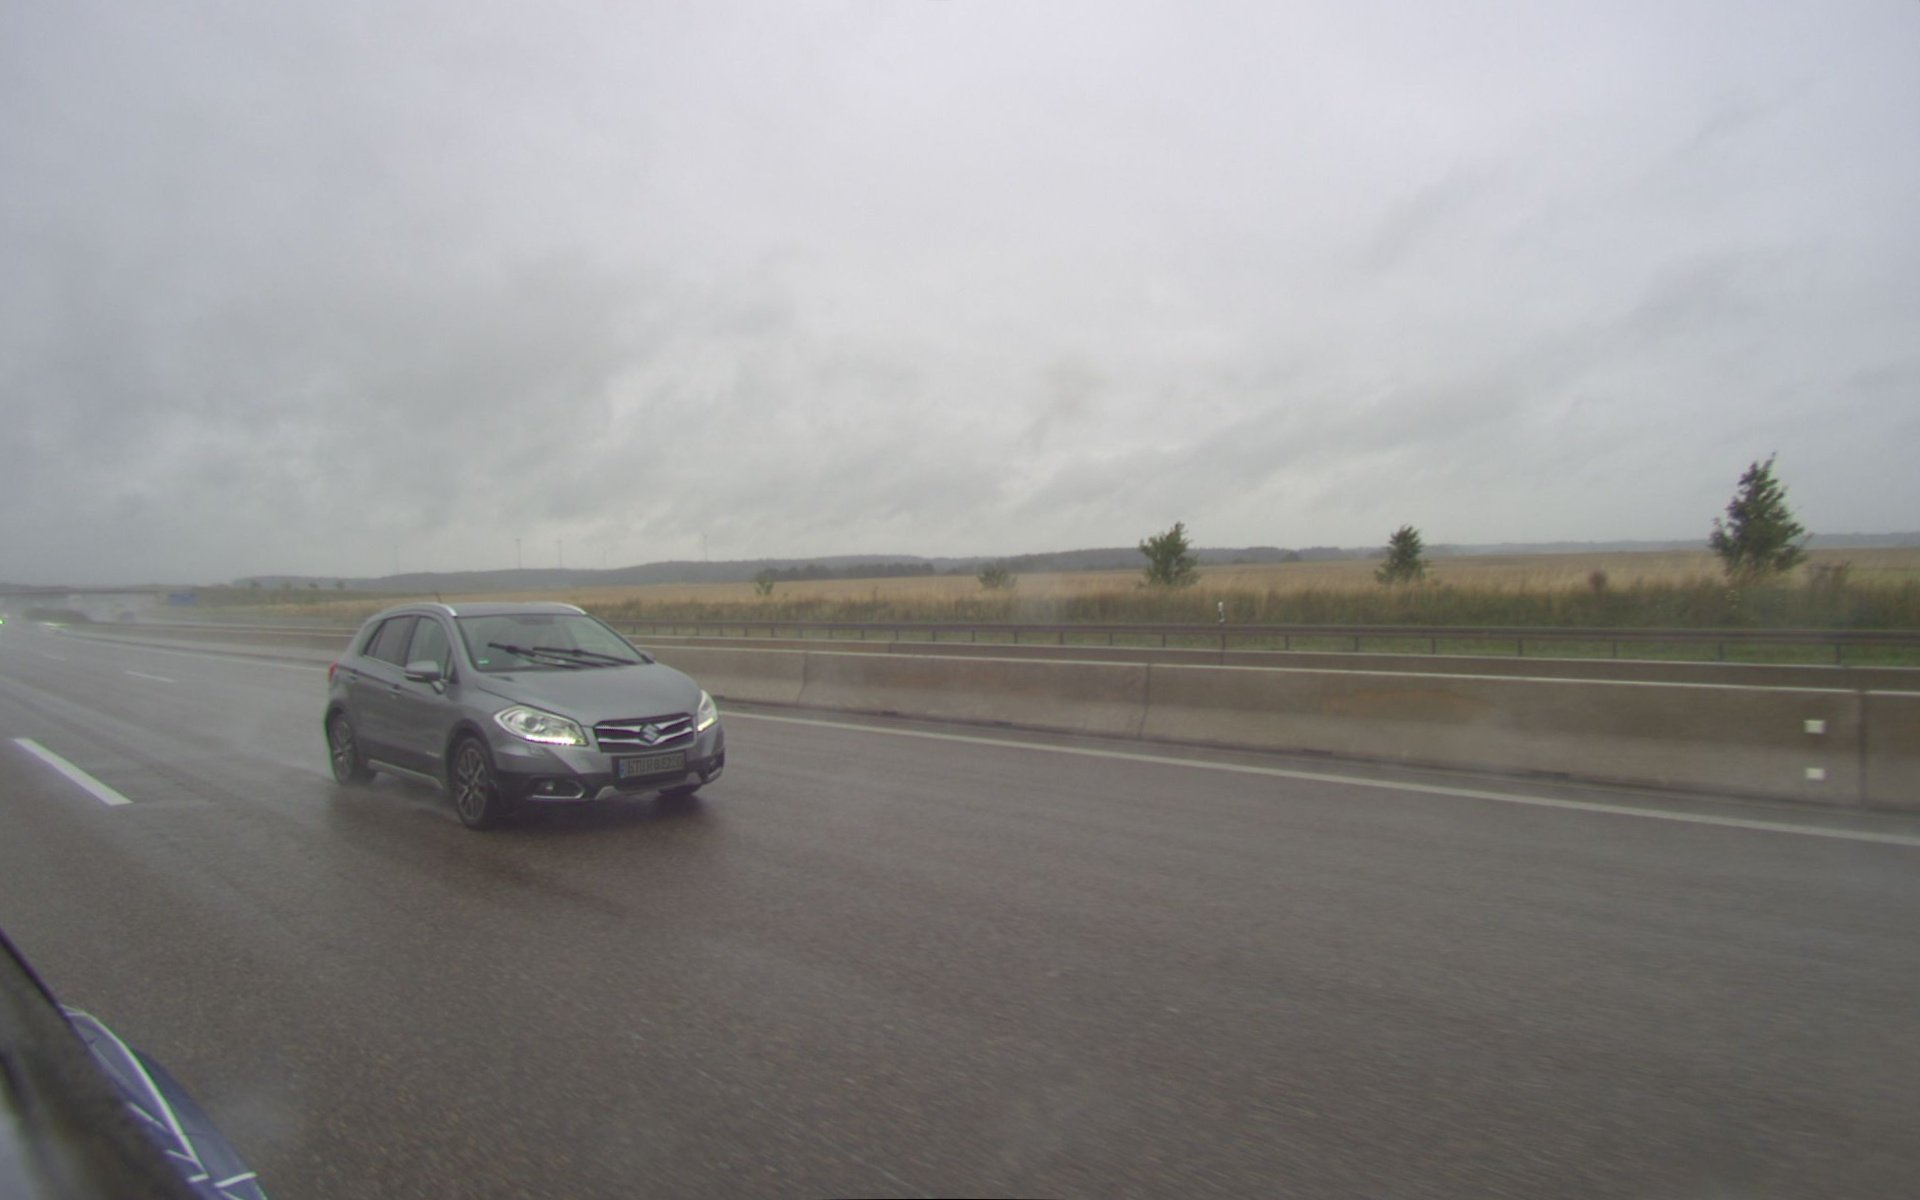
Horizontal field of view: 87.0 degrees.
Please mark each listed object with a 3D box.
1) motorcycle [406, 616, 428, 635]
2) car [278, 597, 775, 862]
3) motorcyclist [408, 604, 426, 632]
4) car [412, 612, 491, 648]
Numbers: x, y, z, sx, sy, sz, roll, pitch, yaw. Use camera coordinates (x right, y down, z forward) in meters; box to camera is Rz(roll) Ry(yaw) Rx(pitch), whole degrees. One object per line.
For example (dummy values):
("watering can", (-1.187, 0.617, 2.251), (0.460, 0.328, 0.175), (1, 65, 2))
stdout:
("motorcycle", (-31.599, 1.469, 58.862), (1.599, 1.071, 0.631), (-1, -1, 42))
("car", (-3.715, 0.781, 8.170), (4.754, 1.524, 1.827), (-1, 0, 41))
("motorcyclist", (-31.591, 1.042, 58.849), (0.839, 1.578, 0.667), (-1, -1, 40))
("car", (-23.573, 1.373, 46.890), (3.999, 1.564, 1.972), (-1, -1, 42))
